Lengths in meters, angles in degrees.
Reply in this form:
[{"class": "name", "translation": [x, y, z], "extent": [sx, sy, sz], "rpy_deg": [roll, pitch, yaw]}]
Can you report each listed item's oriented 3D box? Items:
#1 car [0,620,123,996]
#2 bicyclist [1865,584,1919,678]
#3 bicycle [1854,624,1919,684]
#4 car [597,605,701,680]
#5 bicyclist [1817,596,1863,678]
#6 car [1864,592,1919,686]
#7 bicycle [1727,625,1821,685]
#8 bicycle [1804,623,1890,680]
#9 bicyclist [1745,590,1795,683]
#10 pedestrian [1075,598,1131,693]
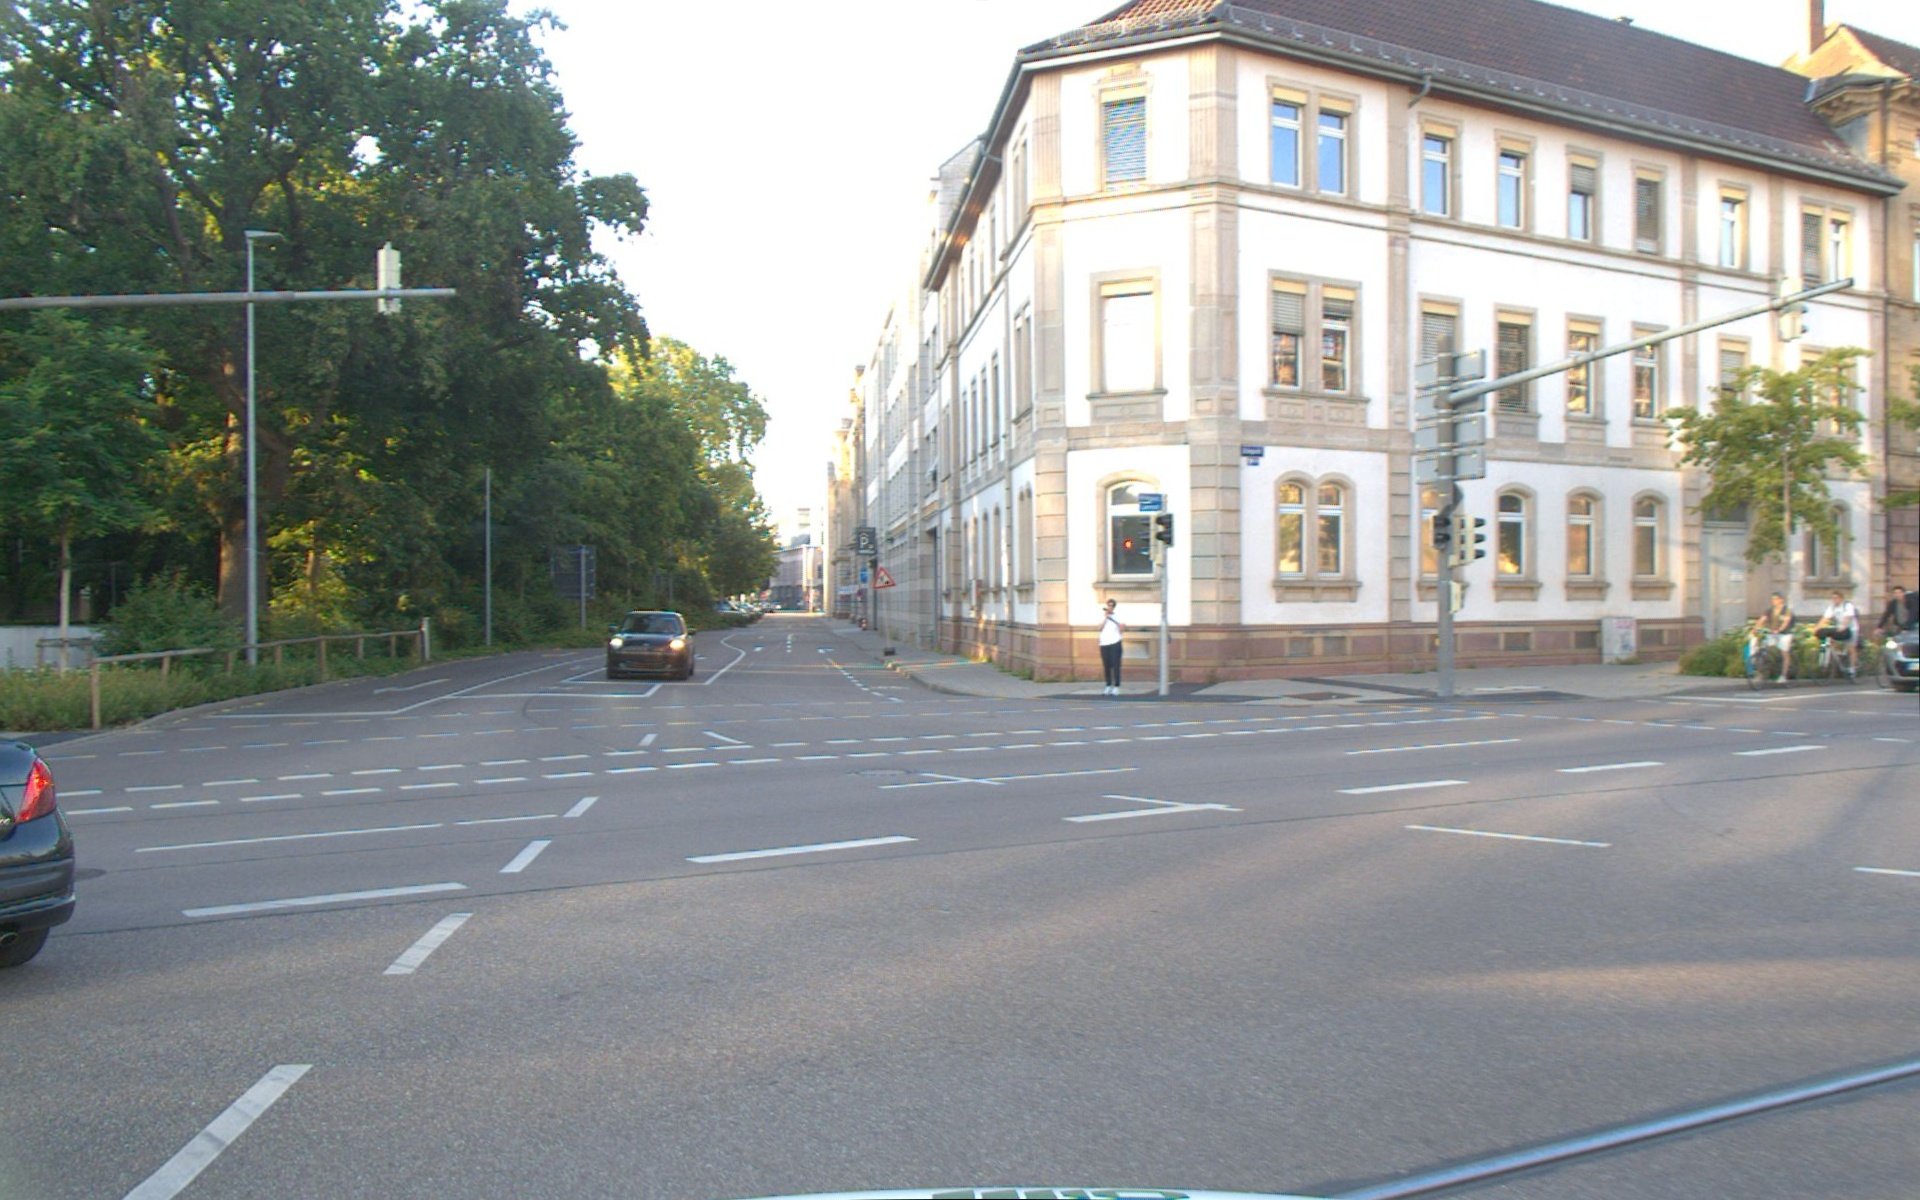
[{"class": "car", "translation": [-5.613, 0.847, 7.197], "extent": [3.816, 1.475, 1.721], "rpy_deg": [-1, 0, 30]}, {"class": "bicyclist", "translation": [17.889, 0.592, 31.599], "extent": [0.760, 1.731, 0.696], "rpy_deg": [-2, -3, -38]}, {"class": "bicycle", "translation": [17.953, 1.011, 31.614], "extent": [2.023, 1.070, 0.712], "rpy_deg": [-1, -3, -38]}, {"class": "car", "translation": [-6.797, 0.899, 36.441], "extent": [1.788, 1.543, 3.573], "rpy_deg": [-1, 0, -4]}, {"class": "bicyclist", "translation": [17.326, 0.722, 32.570], "extent": [0.682, 1.575, 0.507], "rpy_deg": [0, 1, -29]}, {"class": "car", "translation": [18.228, 0.652, 29.497], "extent": [4.203, 1.625, 1.815], "rpy_deg": [-1, -1, -31]}, {"class": "bicycle", "translation": [15.534, 1.035, 31.550], "extent": [2.018, 1.070, 0.524], "rpy_deg": [-1, 0, -29]}, {"class": "bicycle", "translation": [17.554, 1.007, 32.710], "extent": [2.015, 1.070, 0.512], "rpy_deg": [-1, 1, -30]}, {"class": "bicyclist", "translation": [15.419, 0.688, 31.483], "extent": [0.757, 1.731, 0.505], "rpy_deg": [-1, 0, -29]}, {"class": "pedestrian", "translation": [2.607, 0.819, 30.148], "extent": [0.803, 1.685, 0.634], "rpy_deg": [-1, 0, 39]}]
